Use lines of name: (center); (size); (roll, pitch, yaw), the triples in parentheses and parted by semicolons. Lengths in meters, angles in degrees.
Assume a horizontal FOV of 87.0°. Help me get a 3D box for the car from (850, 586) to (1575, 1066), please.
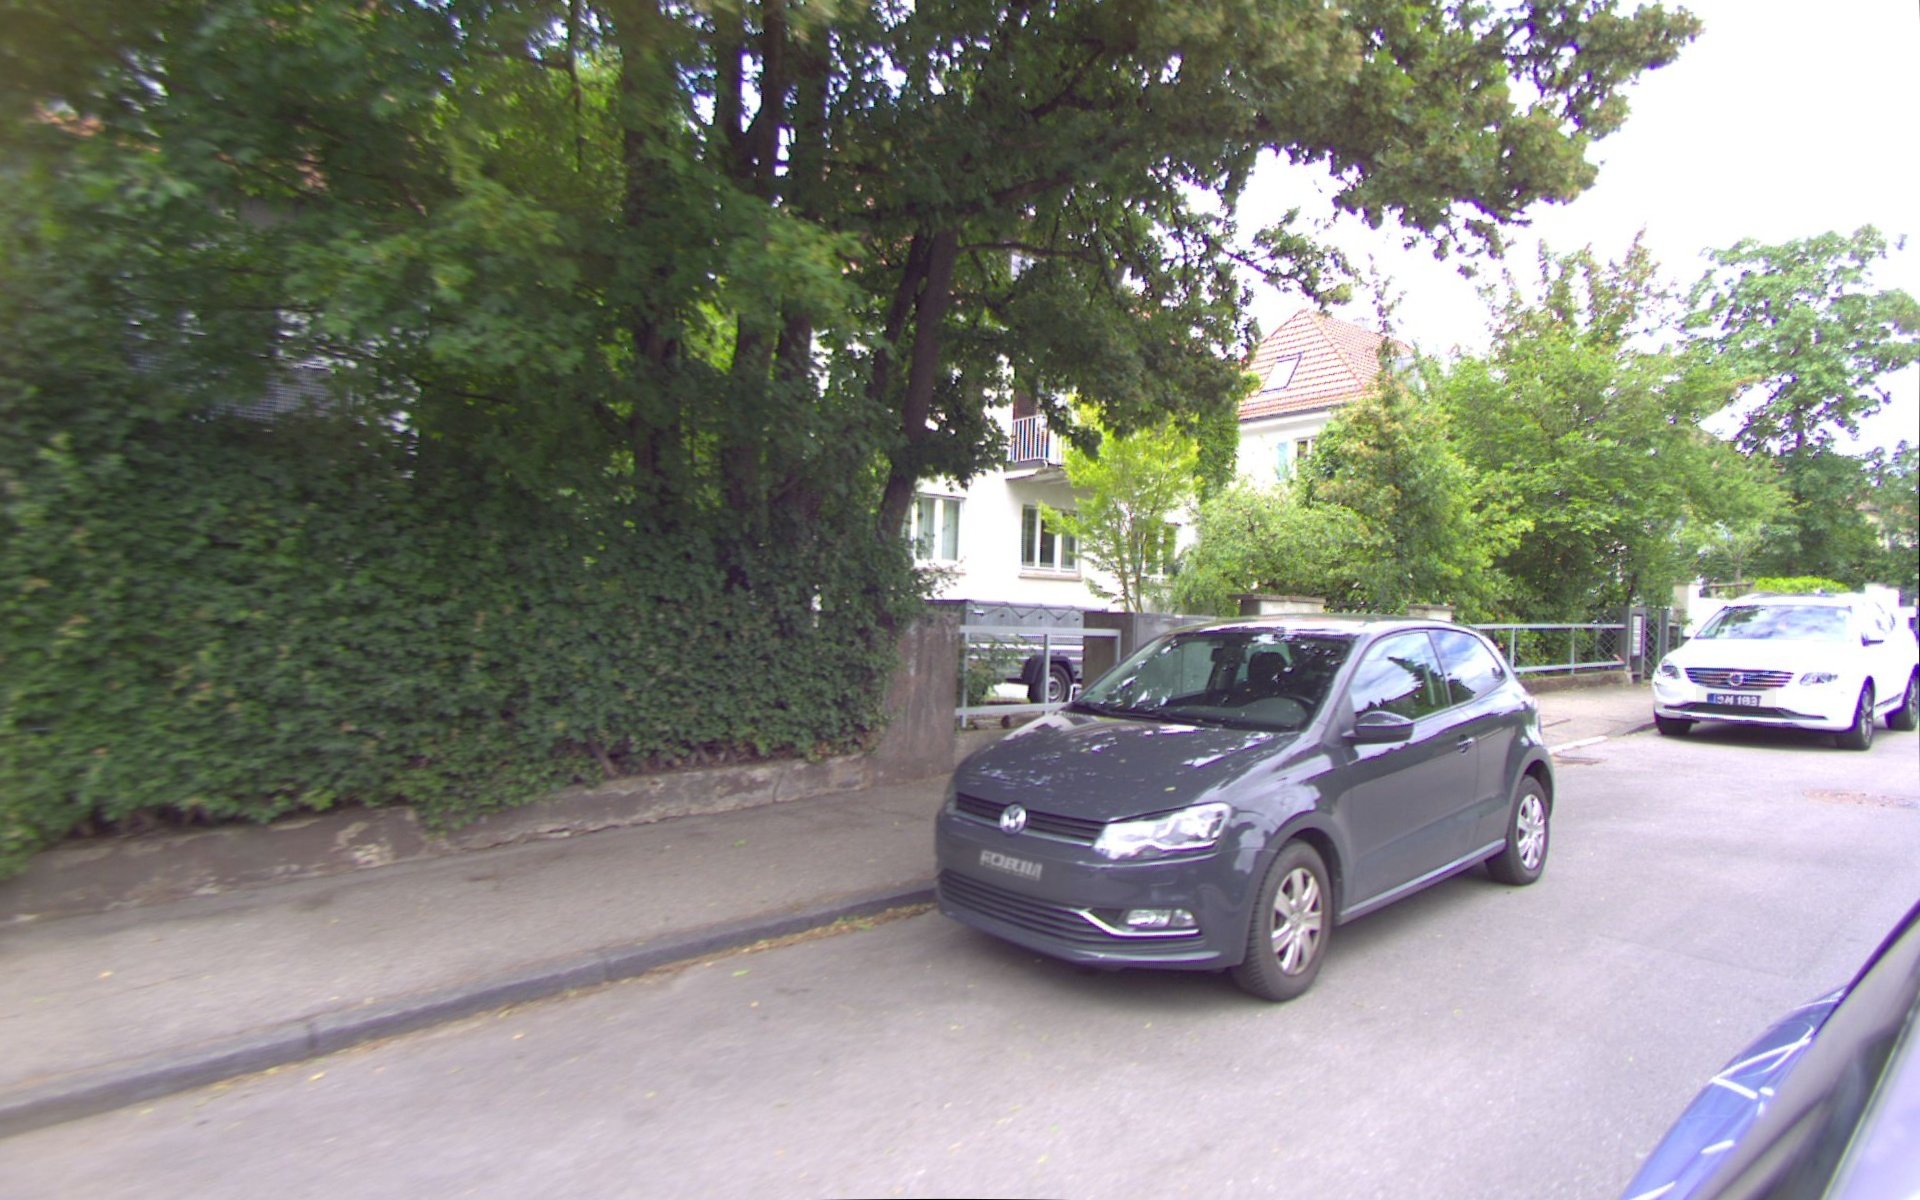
car: (1.468, 0.709, 5.064); (3.724, 1.506, 1.712); (0, 0, -41)

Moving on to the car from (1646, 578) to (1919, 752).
car: (9.978, 0.637, 11.989); (4.271, 1.706, 1.870); (0, 0, -38)
